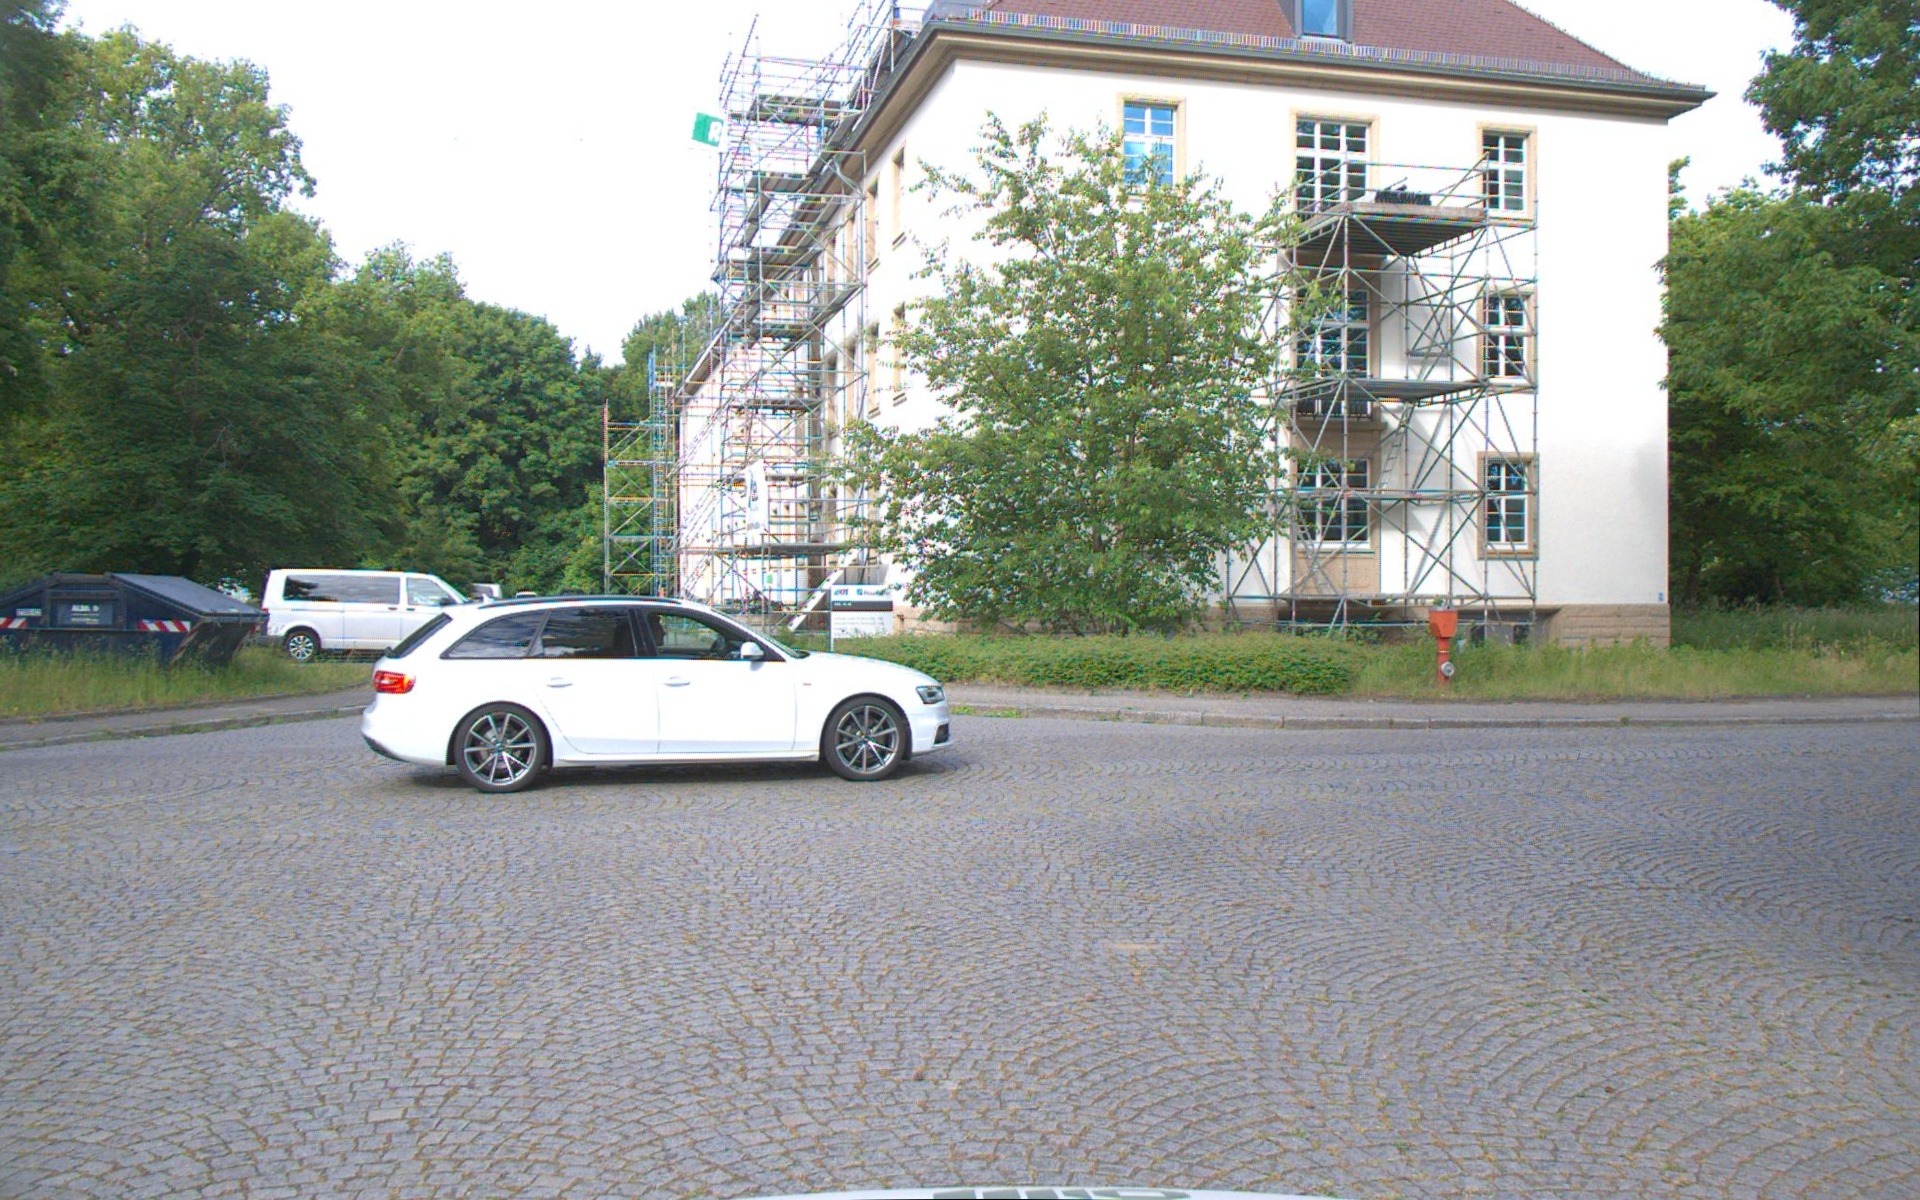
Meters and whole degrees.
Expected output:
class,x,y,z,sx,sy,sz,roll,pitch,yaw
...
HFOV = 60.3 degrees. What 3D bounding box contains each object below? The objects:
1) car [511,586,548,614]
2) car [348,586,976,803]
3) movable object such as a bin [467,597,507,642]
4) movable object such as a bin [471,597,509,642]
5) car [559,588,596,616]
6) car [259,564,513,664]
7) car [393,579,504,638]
class,x,y,z,sx,sy,sz,roll,pitch,yaw
car,-26.292,0.017,101.033,1.970,1.575,3.939,3,-1,-17
car,-2.327,0.653,13.181,4.614,1.462,1.847,0,2,-16
movable object such as a bin,-15.642,0.643,54.704,1.163,1.432,0.972,2,-1,-14
movable object such as a bin,-15.869,0.659,55.872,1.163,1.432,0.972,2,-1,-14
car,-23.601,0.145,102.101,2.027,1.621,3.988,2,-1,-12
car,-12.609,0.331,36.723,5.115,2.096,2.179,1,-1,-16
car,-19.512,0.331,63.112,3.926,2.049,1.911,3,-1,-19
